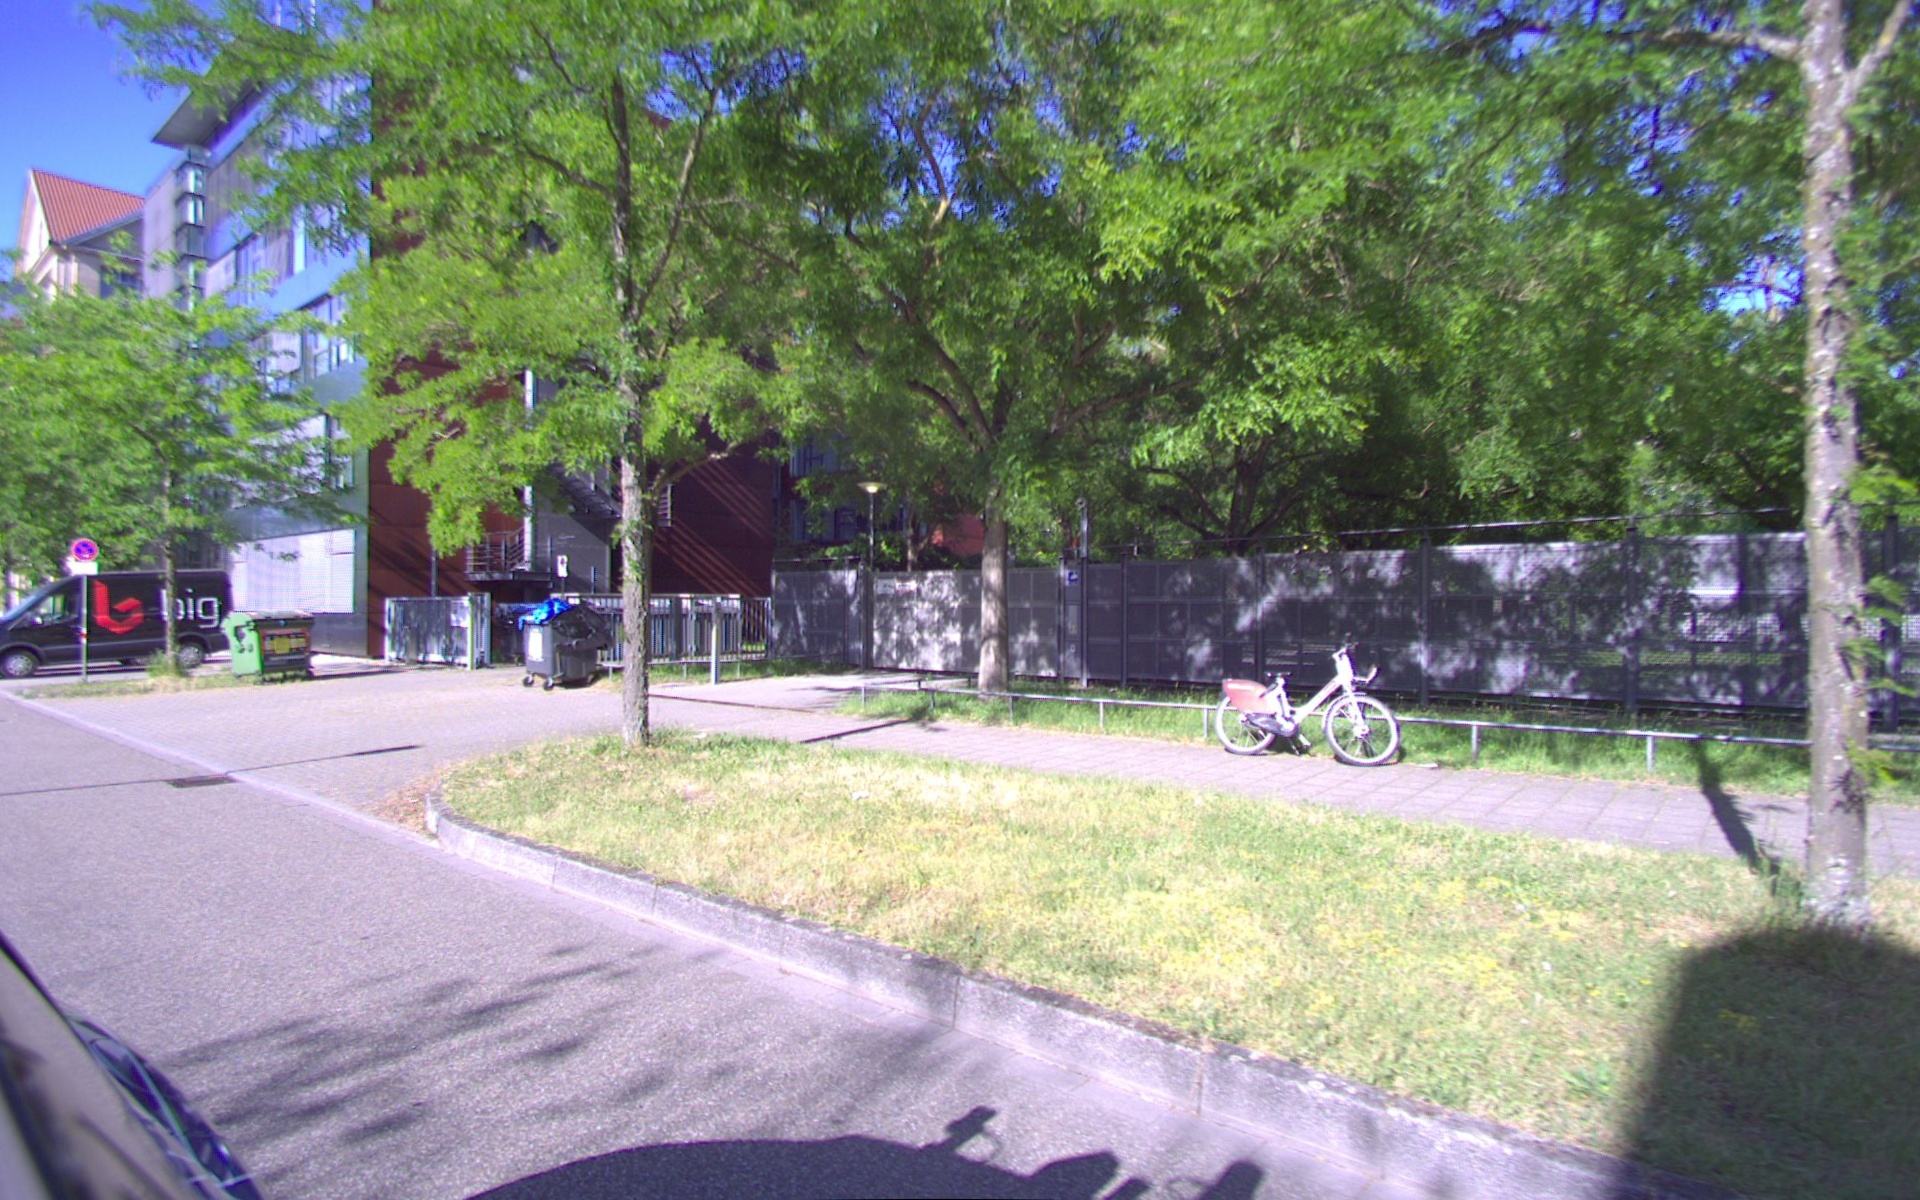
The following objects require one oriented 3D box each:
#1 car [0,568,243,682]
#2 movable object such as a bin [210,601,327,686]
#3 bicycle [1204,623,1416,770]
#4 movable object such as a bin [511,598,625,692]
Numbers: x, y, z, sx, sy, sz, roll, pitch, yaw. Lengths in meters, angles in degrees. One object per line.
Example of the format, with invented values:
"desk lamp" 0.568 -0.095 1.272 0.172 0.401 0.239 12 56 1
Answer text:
"car" -21.320 0.530 25.097 1.985 2.560 5.421 -1 1 39
"movable object such as a bin" -13.691 0.824 20.065 1.342 1.580 1.508 -1 0 31
"bicycle" 3.169 0.826 9.269 1.727 1.201 0.594 -1 0 41
"movable object such as a bin" -7.065 0.772 18.232 1.502 1.580 1.347 -1 0 -45
